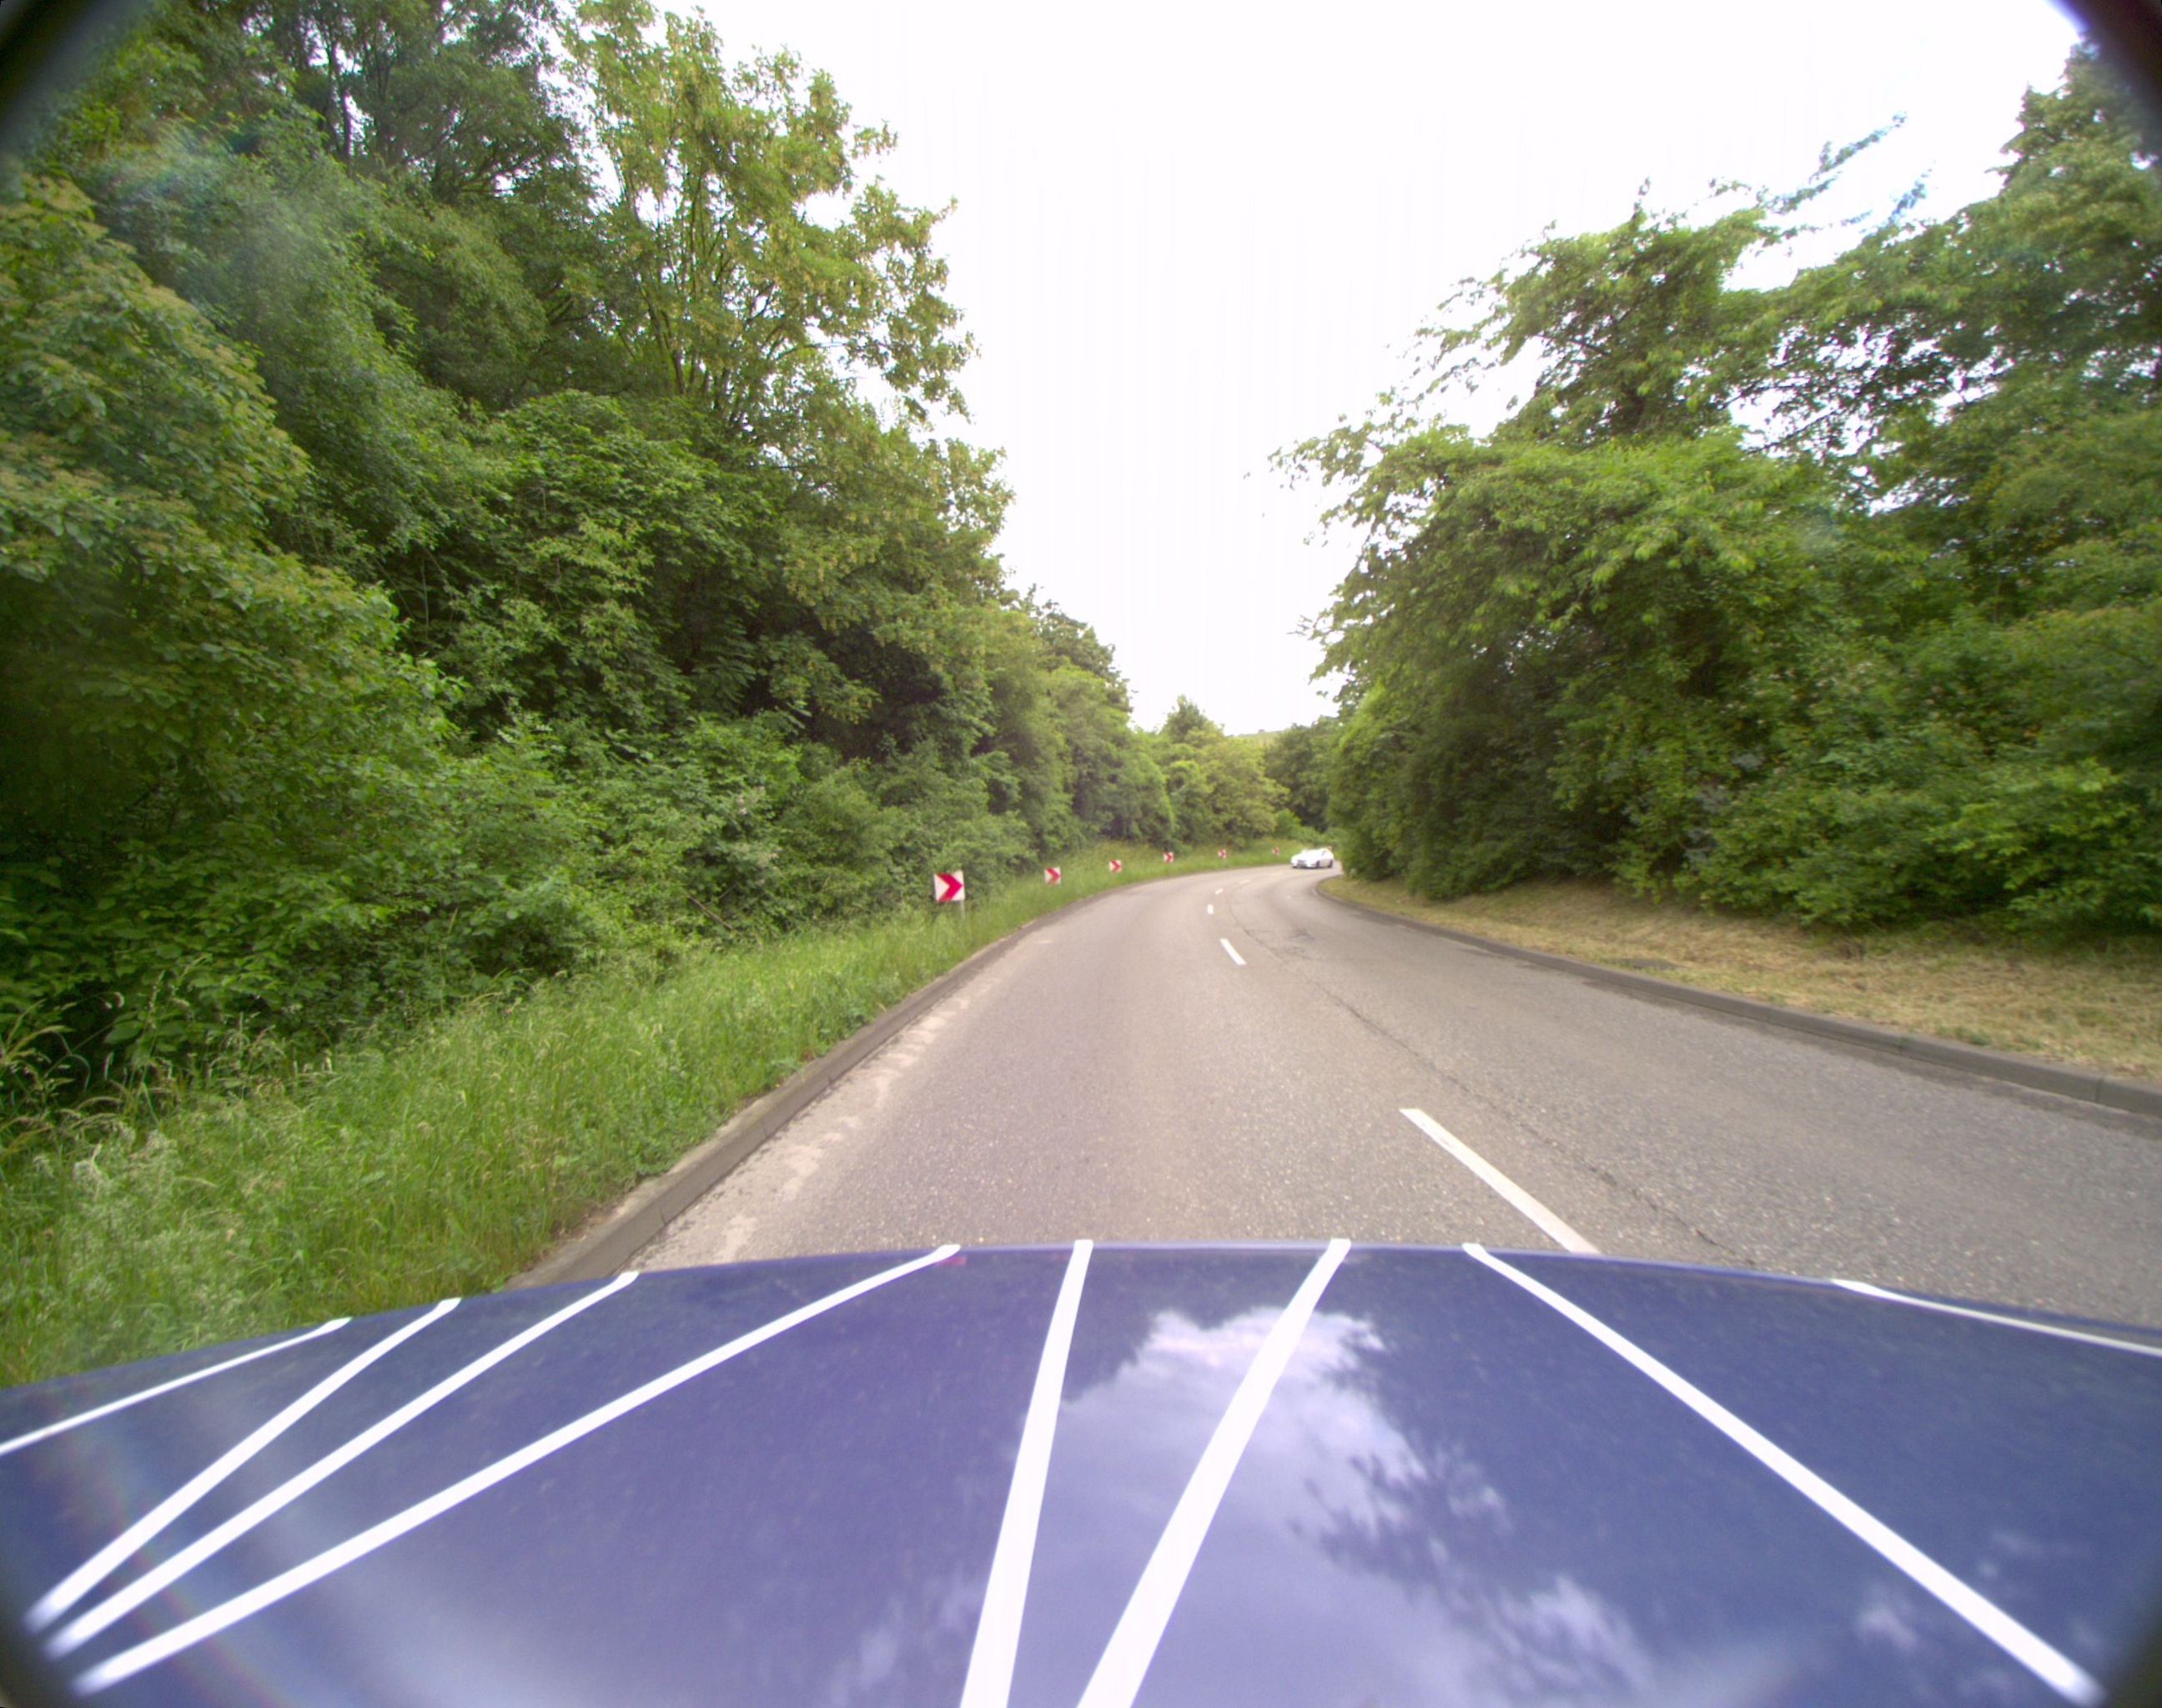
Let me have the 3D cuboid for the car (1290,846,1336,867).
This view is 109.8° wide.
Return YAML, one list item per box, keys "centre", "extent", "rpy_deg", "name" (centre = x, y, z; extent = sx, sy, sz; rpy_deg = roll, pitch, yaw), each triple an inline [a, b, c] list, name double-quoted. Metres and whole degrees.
- centre: [17.086, 0.150, 55.779]
  extent: [1.862, 1.423, 4.364]
  rpy_deg: [2, 2, 36]
  name: "car"
